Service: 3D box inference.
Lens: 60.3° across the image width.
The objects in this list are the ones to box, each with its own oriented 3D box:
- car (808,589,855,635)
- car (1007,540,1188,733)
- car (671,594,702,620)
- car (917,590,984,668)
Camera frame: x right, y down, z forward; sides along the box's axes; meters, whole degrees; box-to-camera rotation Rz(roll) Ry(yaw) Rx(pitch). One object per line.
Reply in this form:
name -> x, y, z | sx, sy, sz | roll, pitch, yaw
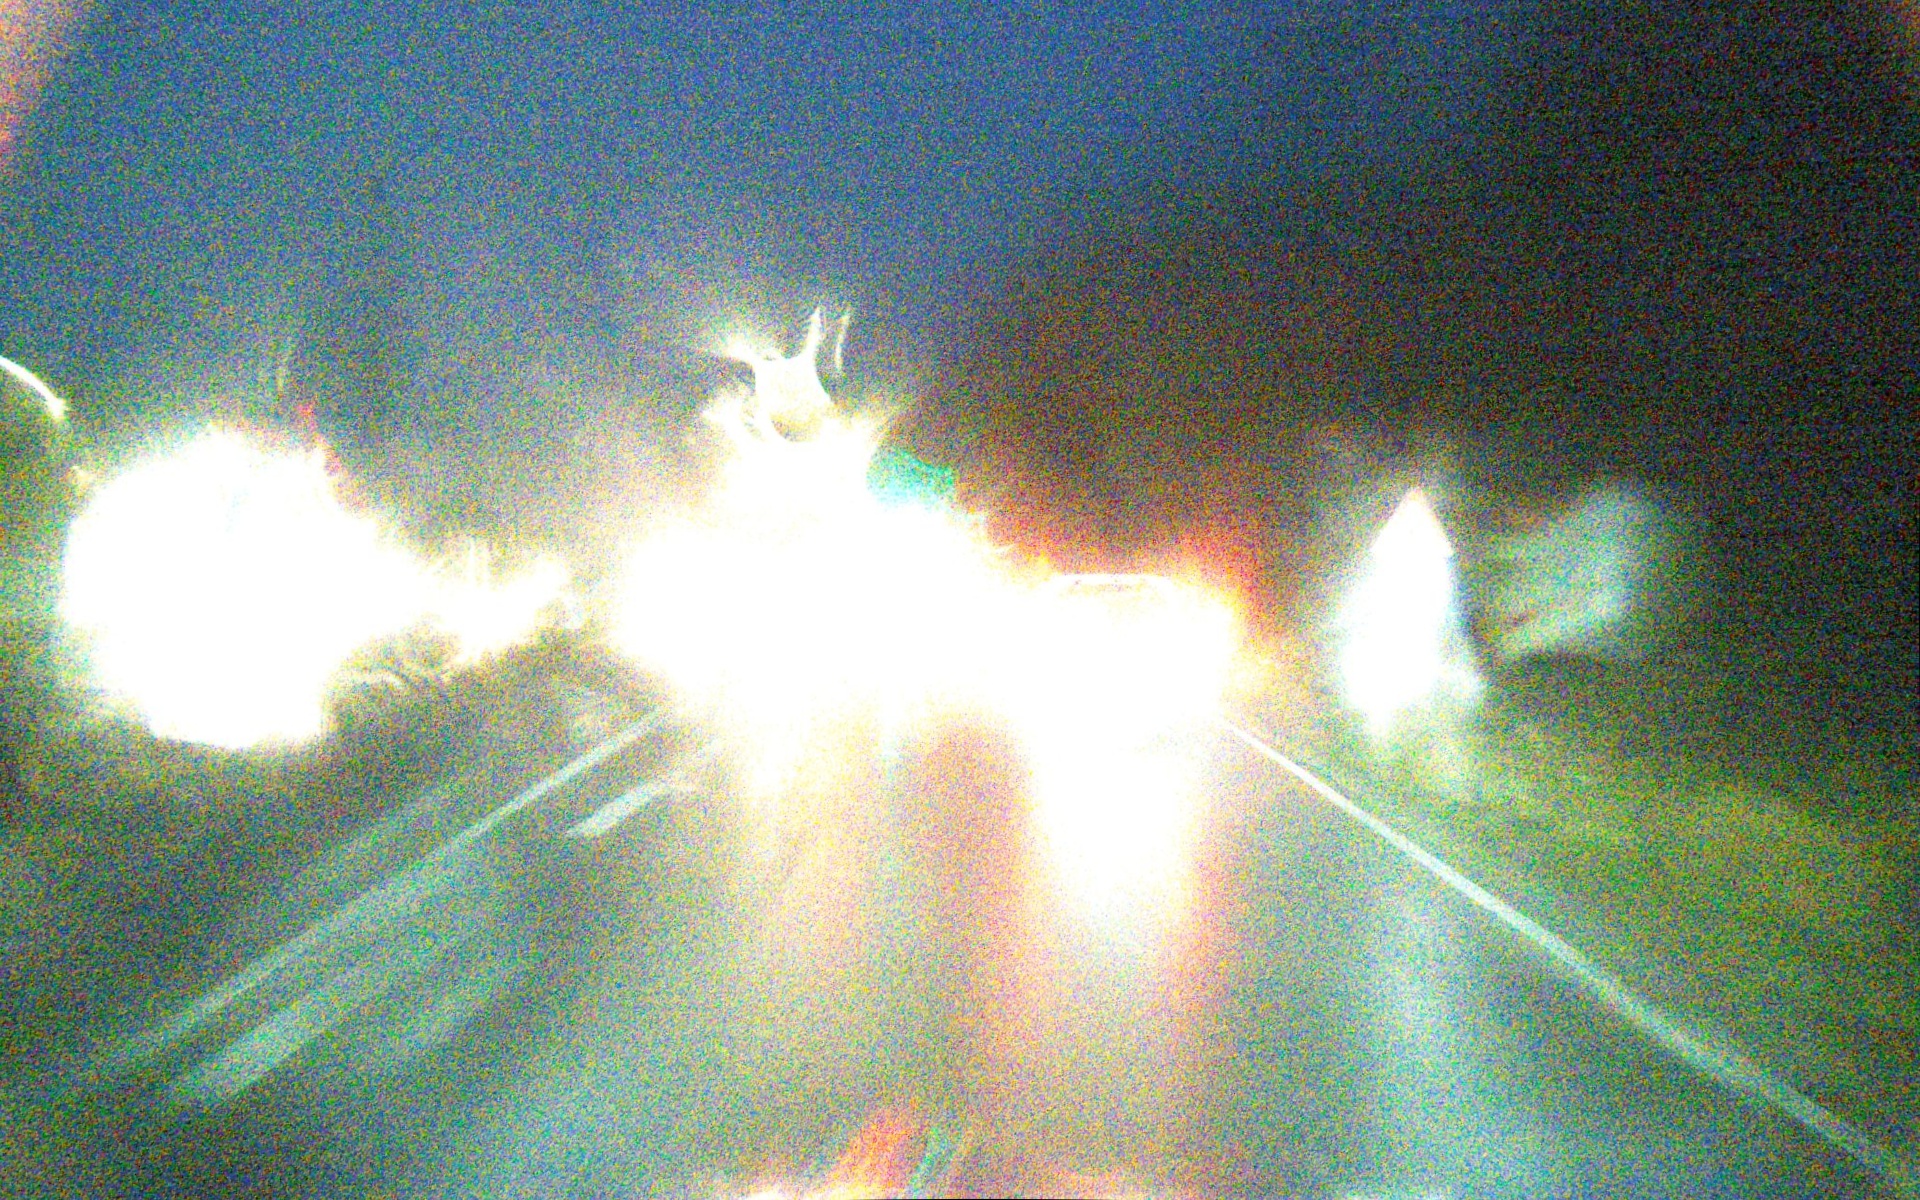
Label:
car -> -5.316, 0.444, 68.010 | 1.750, 1.813, 4.429 | 0, 0, -7
car -> 1.537, 0.373, 20.029 | 1.755, 2.057, 4.579 | 0, 0, -1
car -> -17.597, 0.454, 106.564 | 1.768, 1.616, 4.024 | 1, -1, -7
car -> -0.287, 0.751, 45.927 | 1.755, 2.057, 4.579 | 0, 0, -1
